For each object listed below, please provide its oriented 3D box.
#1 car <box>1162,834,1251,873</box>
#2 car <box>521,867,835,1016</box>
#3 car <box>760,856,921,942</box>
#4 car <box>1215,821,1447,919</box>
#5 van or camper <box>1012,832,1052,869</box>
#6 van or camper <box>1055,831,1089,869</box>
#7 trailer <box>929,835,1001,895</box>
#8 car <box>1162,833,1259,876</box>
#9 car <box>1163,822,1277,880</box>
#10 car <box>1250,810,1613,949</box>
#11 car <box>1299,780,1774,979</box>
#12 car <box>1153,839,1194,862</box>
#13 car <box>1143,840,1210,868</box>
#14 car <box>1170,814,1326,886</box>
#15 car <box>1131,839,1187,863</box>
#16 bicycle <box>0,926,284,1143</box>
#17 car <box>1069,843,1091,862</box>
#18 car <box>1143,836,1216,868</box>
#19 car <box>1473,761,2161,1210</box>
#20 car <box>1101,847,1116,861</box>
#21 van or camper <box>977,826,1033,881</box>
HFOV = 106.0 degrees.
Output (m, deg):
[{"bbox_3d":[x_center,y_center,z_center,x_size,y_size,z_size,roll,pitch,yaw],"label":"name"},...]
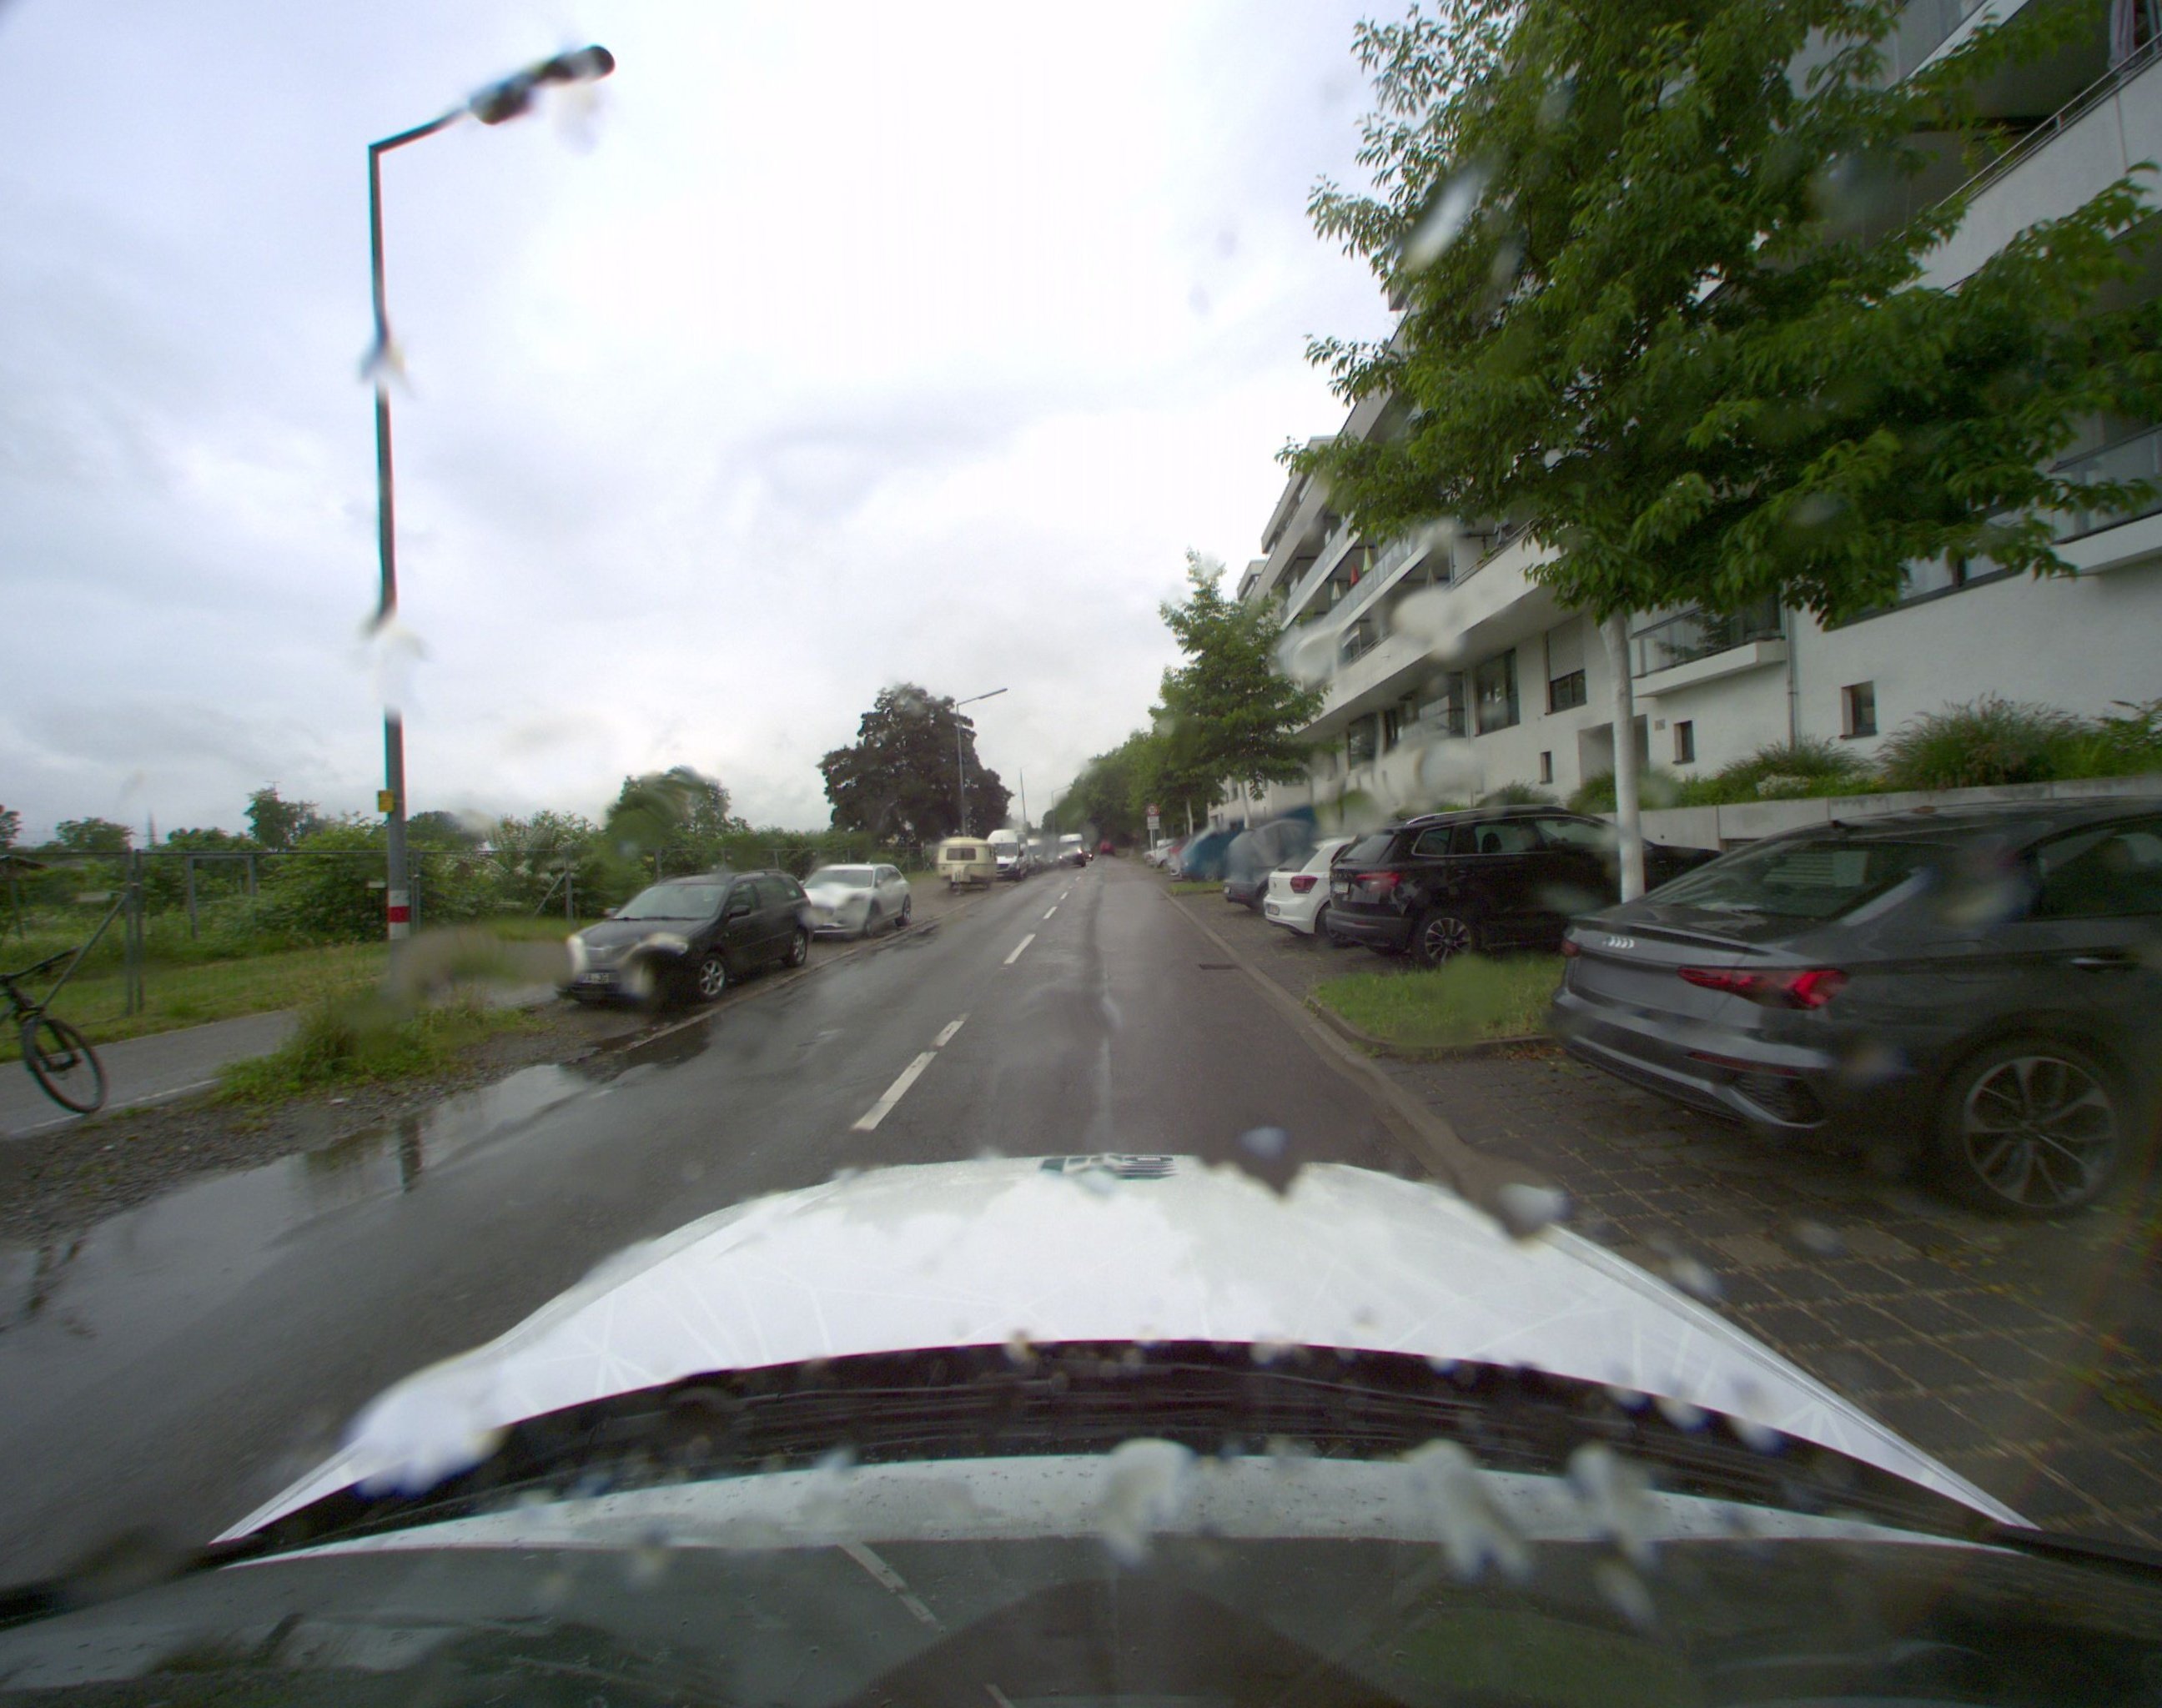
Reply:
[{"bbox_3d":[6.013,-0.020,39.317,3.875,1.600,1.862,-3,0,-4],"label":"car"},{"bbox_3d":[-5.150,1.001,11.342,1.767,1.502,4.831,-1,0,3],"label":"car"},{"bbox_3d":[-4.987,0.847,17.736,1.880,1.525,5.111,-1,0,1],"label":"car"},{"bbox_3d":[4.859,0.294,16.166,4.019,1.499,1.631,-5,0,-2],"label":"car"},{"bbox_3d":[-3.535,-0.263,59.935,2.180,2.461,6.381,-2,0,2],"label":"van or camper"},{"bbox_3d":[-0.609,-0.310,60.908,1.985,2.497,7.183,-4,0,3],"label":"van or camper"},{"bbox_3d":[-4.687,0.406,33.941,2.052,2.217,5.795,-2,0,0],"label":"trailer"},{"bbox_3d":[5.706,0.009,36.120,3.875,1.681,1.862,-3,0,-4],"label":"car"},{"bbox_3d":[5.348,-0.123,31.757,4.077,1.894,1.728,-4,0,2],"label":"car"},{"bbox_3d":[4.711,0.325,11.356,4.286,1.428,1.636,-5,0,-1],"label":"car"},{"bbox_3d":[4.809,0.245,9.068,4.150,1.624,1.897,-5,0,-1],"label":"car"},{"bbox_3d":[9.852,-0.426,86.845,3.952,2.292,1.786,-2,0,22],"label":"car"},{"bbox_3d":[6.550,-0.030,56.224,4.372,1.633,2.006,-3,0,1],"label":"car"},{"bbox_3d":[5.392,-0.130,26.625,4.607,2.019,1.856,-3,0,-3],"label":"car"},{"bbox_3d":[6.103,-0.232,64.085,4.085,1.575,1.864,-3,0,-5],"label":"car"},{"bbox_3d":[-6.877,1.180,5.126,0.691,1.150,2.690,-1,1,11],"label":"bicycle"},{"bbox_3d":[-0.056,-0.142,82.022,1.874,1.757,4.071,-3,0,3],"label":"car"},{"bbox_3d":[6.197,-0.140,51.722,4.372,1.776,2.006,-3,0,1],"label":"car"},{"bbox_3d":[4.301,0.410,3.890,3.973,1.509,1.685,-5,1,1],"label":"car"},{"bbox_3d":[3.635,0.003,107.959,1.748,1.705,4.004,-4,0,4],"label":"car"},{"bbox_3d":[-4.159,-0.042,46.009,1.986,2.762,7.903,-2,0,2],"label":"van or camper"}]
